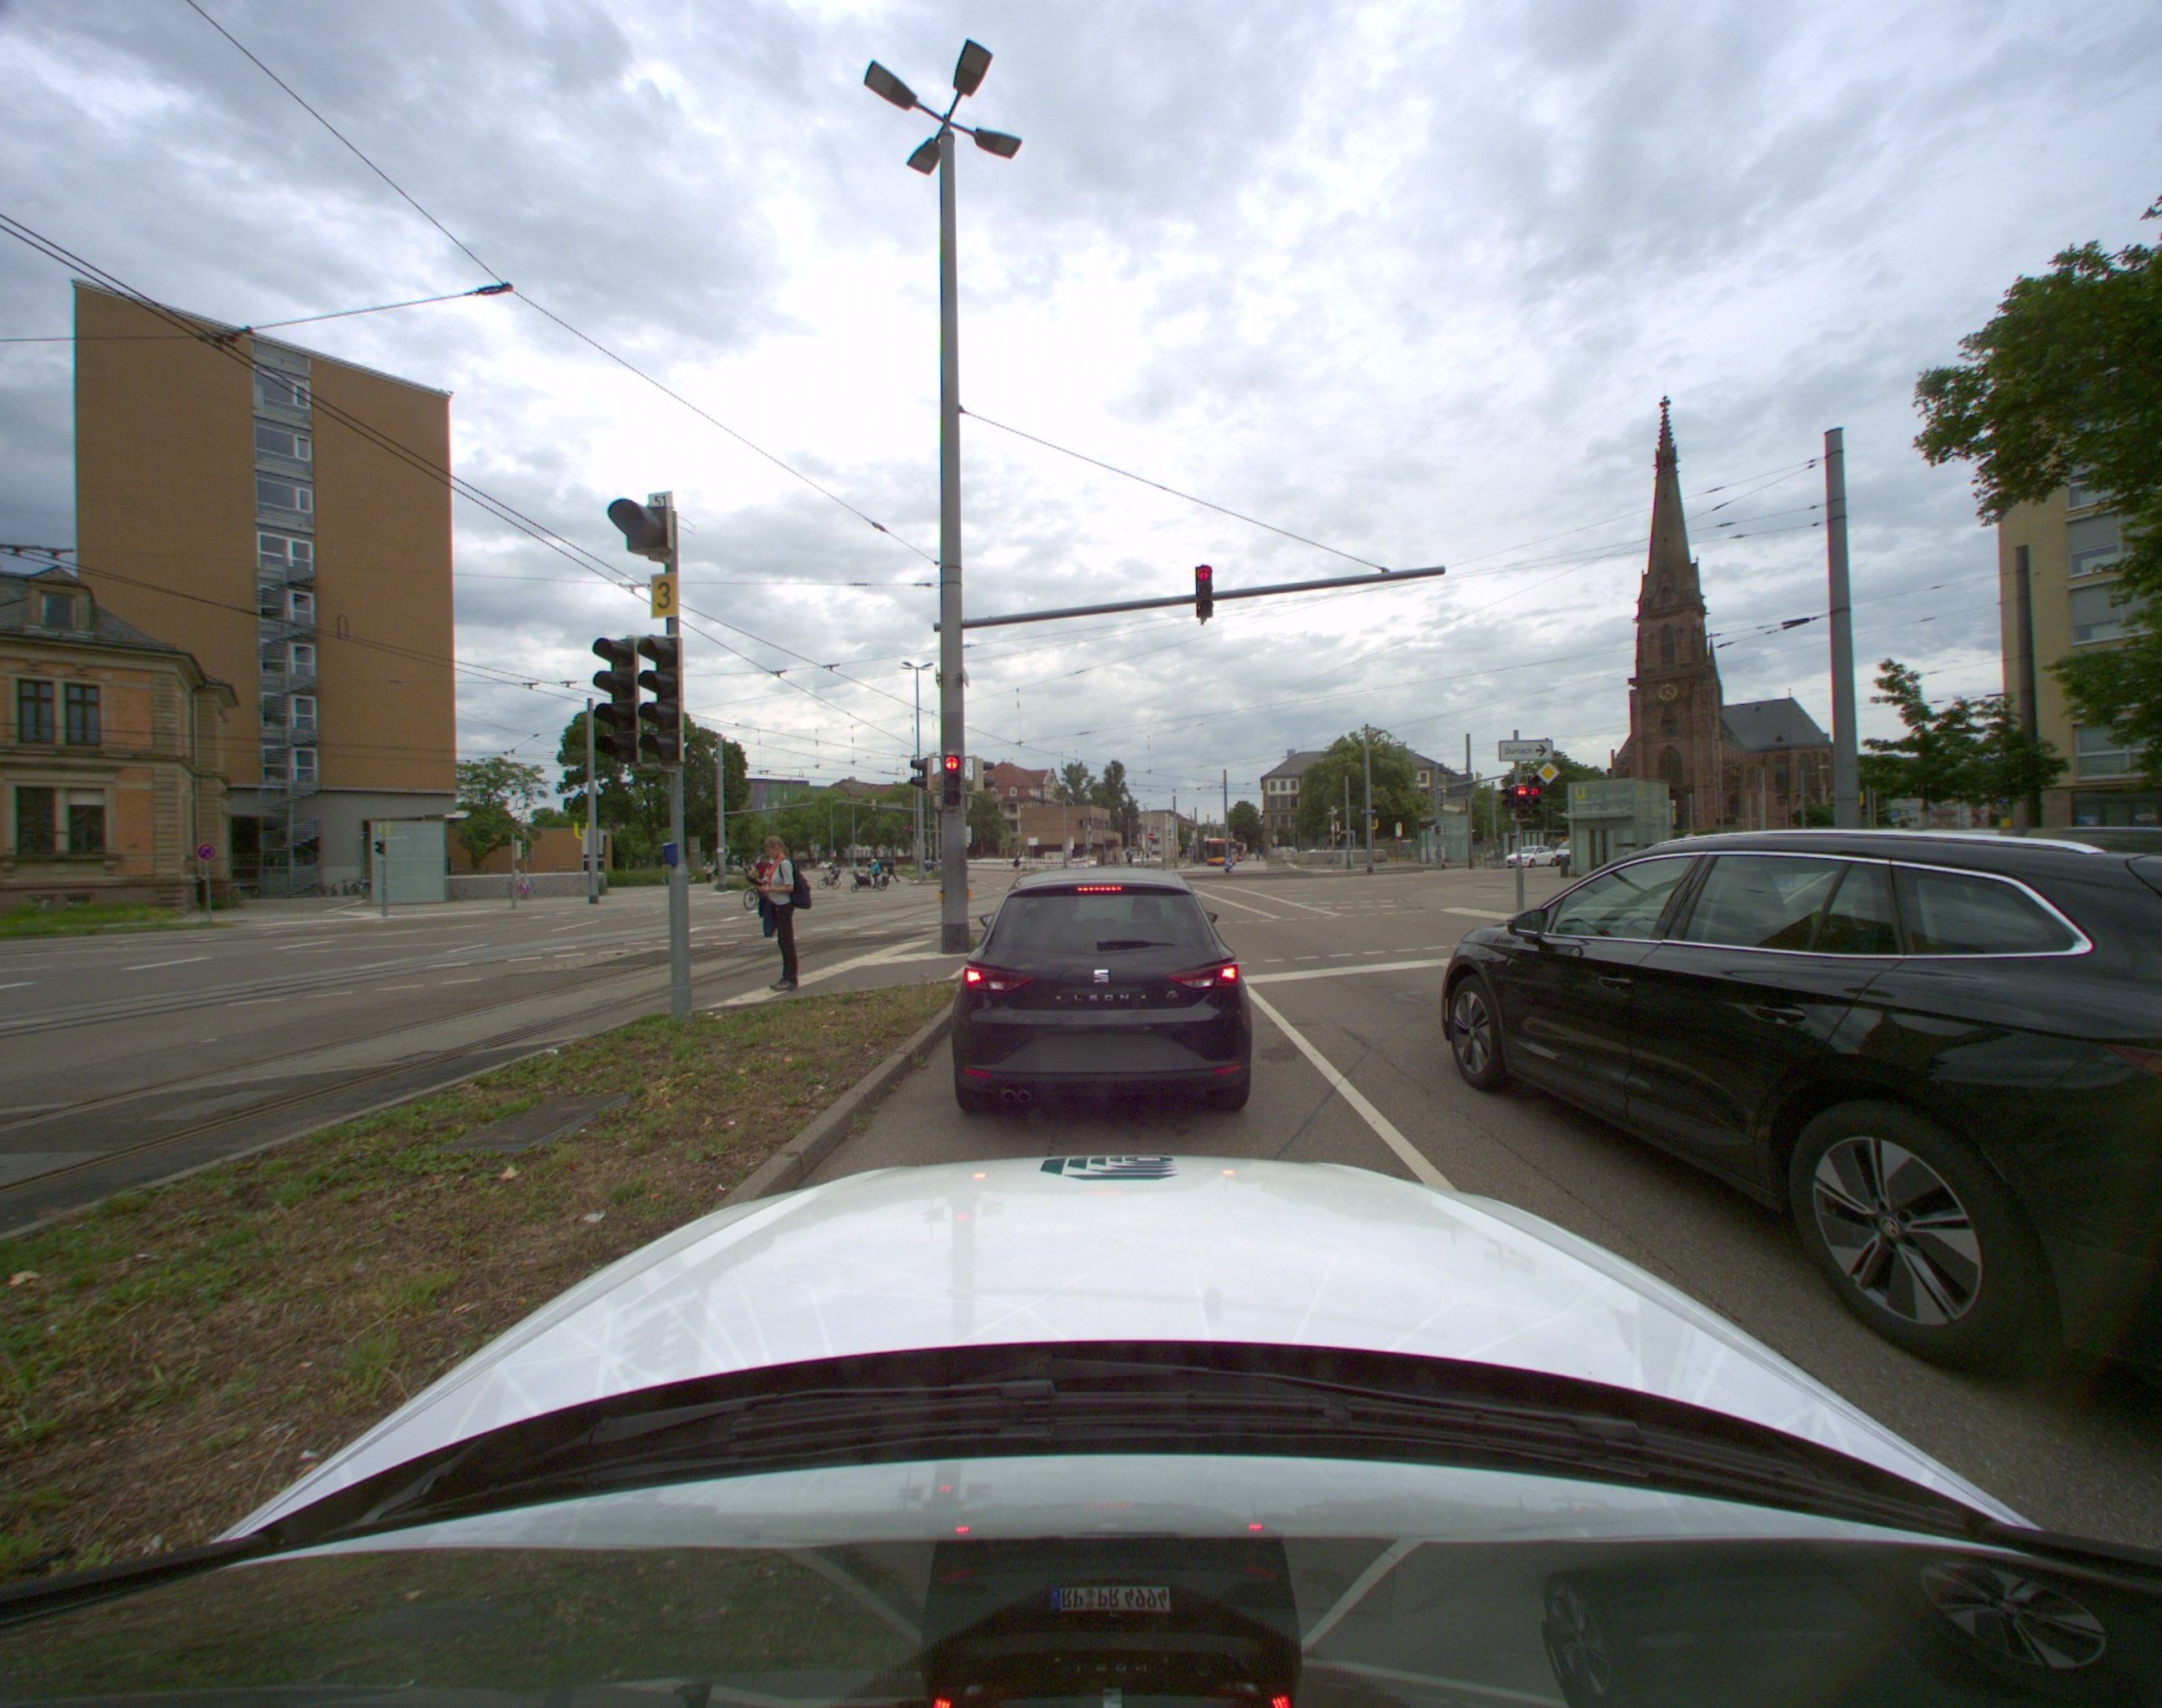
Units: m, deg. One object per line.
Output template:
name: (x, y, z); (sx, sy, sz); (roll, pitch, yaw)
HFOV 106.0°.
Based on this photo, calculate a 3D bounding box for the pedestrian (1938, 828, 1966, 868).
pedestrian: (37.059, -0.256, 34.656); (0.875, 1.638, 0.631); (-1, 0, -32)

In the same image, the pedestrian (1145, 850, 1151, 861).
pedestrian: (11.277, 0.286, 137.422); (0.615, 1.918, 0.715); (-3, -2, 27)

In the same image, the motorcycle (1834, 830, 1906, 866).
motorcycle: (26.948, -0.208, 27.803); (2.386, 1.168, 0.762); (-1, 0, -19)

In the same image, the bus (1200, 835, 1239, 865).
bus: (15.966, -0.431, 93.266); (2.938, 3.123, 11.589); (-2, 0, 16)

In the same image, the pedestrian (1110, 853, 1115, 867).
pedestrian: (4.407, 0.856, 113.751); (0.618, 1.918, 0.711); (-2, 0, 5)

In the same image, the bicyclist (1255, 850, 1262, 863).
bicyclist: (26.758, 0.355, 122.640); (0.865, 1.851, 1.052); (-2, 0, 14)

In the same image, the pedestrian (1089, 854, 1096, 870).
pedestrian: (1.351, 0.936, 96.722); (0.704, 1.918, 0.625); (-2, 0, 9)

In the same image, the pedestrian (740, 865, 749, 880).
pedestrian: (-43.890, 2.446, 106.105); (0.877, 1.981, 0.794); (-2, -2, -7)

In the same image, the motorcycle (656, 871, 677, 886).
motorcycle: (-35.446, 2.078, 69.596); (1.481, 1.268, 0.505); (-1, 0, -44)

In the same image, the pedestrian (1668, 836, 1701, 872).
pedestrian: (31.145, 0.020, 42.035); (0.951, 1.797, 1.076); (-1, -2, -34)

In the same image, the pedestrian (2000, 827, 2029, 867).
pedestrian: (38.160, -0.286, 33.292); (0.875, 1.638, 0.631); (-1, 0, -31)

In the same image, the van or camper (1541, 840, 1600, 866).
van or camper: (35.272, -0.086, 58.670); (4.321, 1.742, 1.979); (-1, -2, -34)

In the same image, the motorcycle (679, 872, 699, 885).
motorcycle: (-34.419, 2.163, 71.501); (0.506, 1.111, 1.751); (-2, 0, 15)

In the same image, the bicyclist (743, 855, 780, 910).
bicyclist: (-11.312, 1.000, 28.878); (0.770, 1.898, 1.000); (-2, 0, 11)

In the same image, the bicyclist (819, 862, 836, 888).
bicyclist: (-16.535, 1.366, 53.155); (0.861, 1.673, 0.646); (-1, 0, -41)

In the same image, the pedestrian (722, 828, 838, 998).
pedestrian: (-3.605, 0.668, 9.776); (1.110, 1.907, 0.727); (0, -1, -41)

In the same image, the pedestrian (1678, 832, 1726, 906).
pedestrian: (16.535, 0.387, 21.668); (0.878, 1.930, 1.023); (-1, 0, 43)

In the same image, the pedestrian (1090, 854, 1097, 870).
pedestrian: (1.508, 0.950, 97.515); (0.704, 1.918, 0.625); (-2, 0, 9)

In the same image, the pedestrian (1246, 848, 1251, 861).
pedestrian: (24.833, 0.082, 120.723); (0.659, 2.013, 0.692); (-2, 0, 2)

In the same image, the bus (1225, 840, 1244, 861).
bus: (25.736, -0.594, 136.276); (2.635, 3.283, 11.034); (-2, 0, 13)

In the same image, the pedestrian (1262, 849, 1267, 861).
pedestrian: (29.692, 0.177, 131.802); (0.659, 2.013, 0.692); (-2, 0, 2)

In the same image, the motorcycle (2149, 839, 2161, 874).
motorcycle: (31.833, 0.054, 23.647); (1.021, 0.997, 0.863); (-1, 0, -44)

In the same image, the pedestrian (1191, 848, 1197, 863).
pedestrian: (14.437, 0.176, 103.980); (0.617, 1.918, 0.701); (-2, 0, 11)

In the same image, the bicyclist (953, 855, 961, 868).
bicyclist: (-16.755, 1.071, 110.264); (0.886, 1.732, 0.888); (-1, 0, -20)

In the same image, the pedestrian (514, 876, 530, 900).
pedestrian: (-30.684, 1.864, 44.697); (0.492, 1.336, 0.577); (-2, -1, 41)

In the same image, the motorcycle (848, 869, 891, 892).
motorcycle: (-11.421, 1.413, 44.027); (2.149, 1.139, 0.737); (-1, 0, -31)

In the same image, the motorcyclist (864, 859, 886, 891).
motorcyclist: (-11.185, 1.131, 44.186); (0.984, 1.649, 0.742); (-1, -1, -31)

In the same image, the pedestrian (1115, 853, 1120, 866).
pedestrian: (5.075, 0.773, 113.707); (0.618, 1.918, 0.711); (-2, 0, 5)

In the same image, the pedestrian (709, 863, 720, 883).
pedestrian: (-36.959, 1.881, 82.093); (0.799, 1.981, 0.872); (-1, -2, -33)

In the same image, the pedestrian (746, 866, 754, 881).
pedestrian: (-42.877, 2.515, 105.541); (0.880, 1.981, 0.791); (-1, -2, -17)

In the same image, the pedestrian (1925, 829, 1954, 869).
pedestrian: (36.058, -0.200, 34.200); (0.875, 1.638, 0.631); (-1, 0, -31)
